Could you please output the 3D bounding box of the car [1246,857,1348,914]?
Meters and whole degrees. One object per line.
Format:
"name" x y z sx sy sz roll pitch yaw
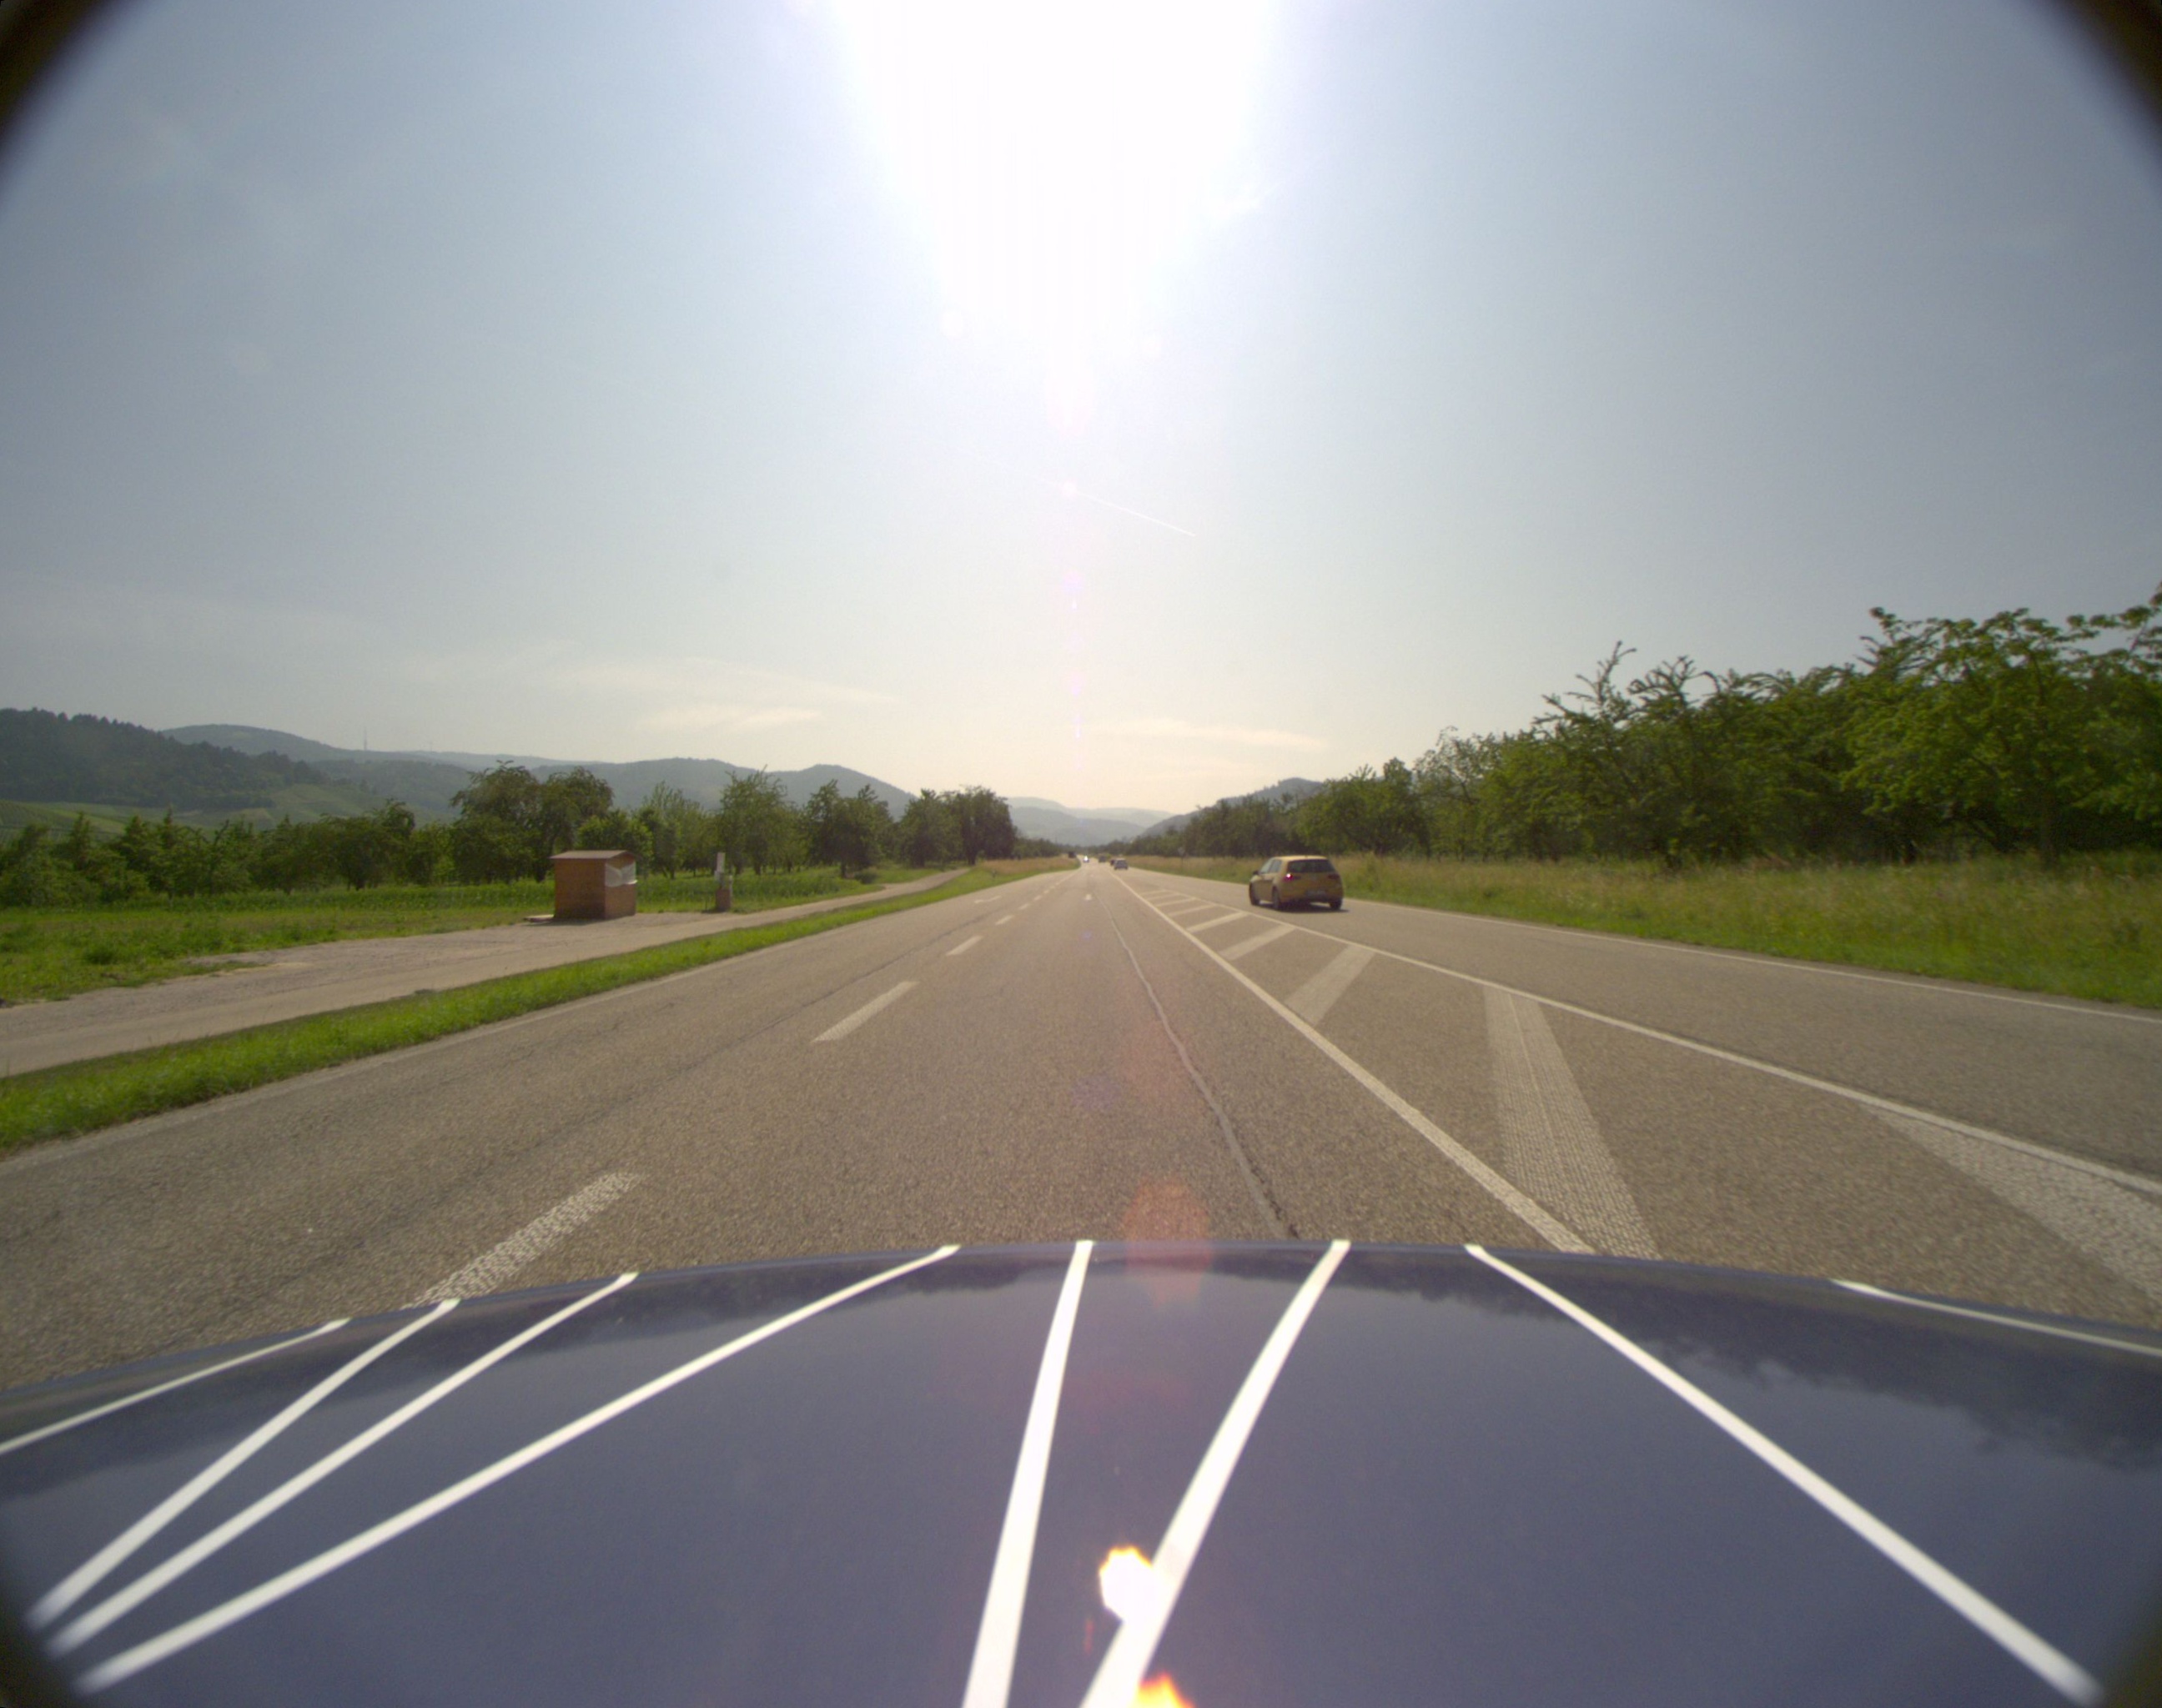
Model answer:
"car" 5.967 0.821 21.430 1.702 1.408 3.824 -1 0 -1

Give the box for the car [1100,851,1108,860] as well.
"car" 6.947 0.504 230.717 2.166 2.653 6.142 -2 1 0

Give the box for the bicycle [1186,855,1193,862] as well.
"bicycle" 16.234 0.631 114.001 0.742 0.984 2.225 -2 1 2

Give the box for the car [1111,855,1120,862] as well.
"car" 7.038 0.947 153.919 1.629 1.448 3.621 -2 0 0

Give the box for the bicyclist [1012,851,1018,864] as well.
"bicyclist" -9.859 0.481 112.951 0.751 1.918 0.828 0 0 7

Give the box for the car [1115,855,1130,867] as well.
"car" 5.626 0.902 103.495 1.679 1.485 4.136 -2 0 0

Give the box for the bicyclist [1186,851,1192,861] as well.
"bicyclist" 16.223 0.280 113.994 0.742 1.446 0.863 -2 1 2

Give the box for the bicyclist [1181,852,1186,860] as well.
"bicyclist" 16.935 0.309 125.155 0.643 1.406 0.863 -2 1 2

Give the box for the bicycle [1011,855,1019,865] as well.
"bicycle" -9.851 0.908 112.962 0.751 1.410 2.222 0 0 7

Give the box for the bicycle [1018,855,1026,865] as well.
"bicycle" -8.788 0.882 112.782 0.751 1.410 2.222 0 0 7

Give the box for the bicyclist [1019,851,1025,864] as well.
"bicyclist" -8.796 0.517 112.762 0.751 1.856 0.869 0 0 7
